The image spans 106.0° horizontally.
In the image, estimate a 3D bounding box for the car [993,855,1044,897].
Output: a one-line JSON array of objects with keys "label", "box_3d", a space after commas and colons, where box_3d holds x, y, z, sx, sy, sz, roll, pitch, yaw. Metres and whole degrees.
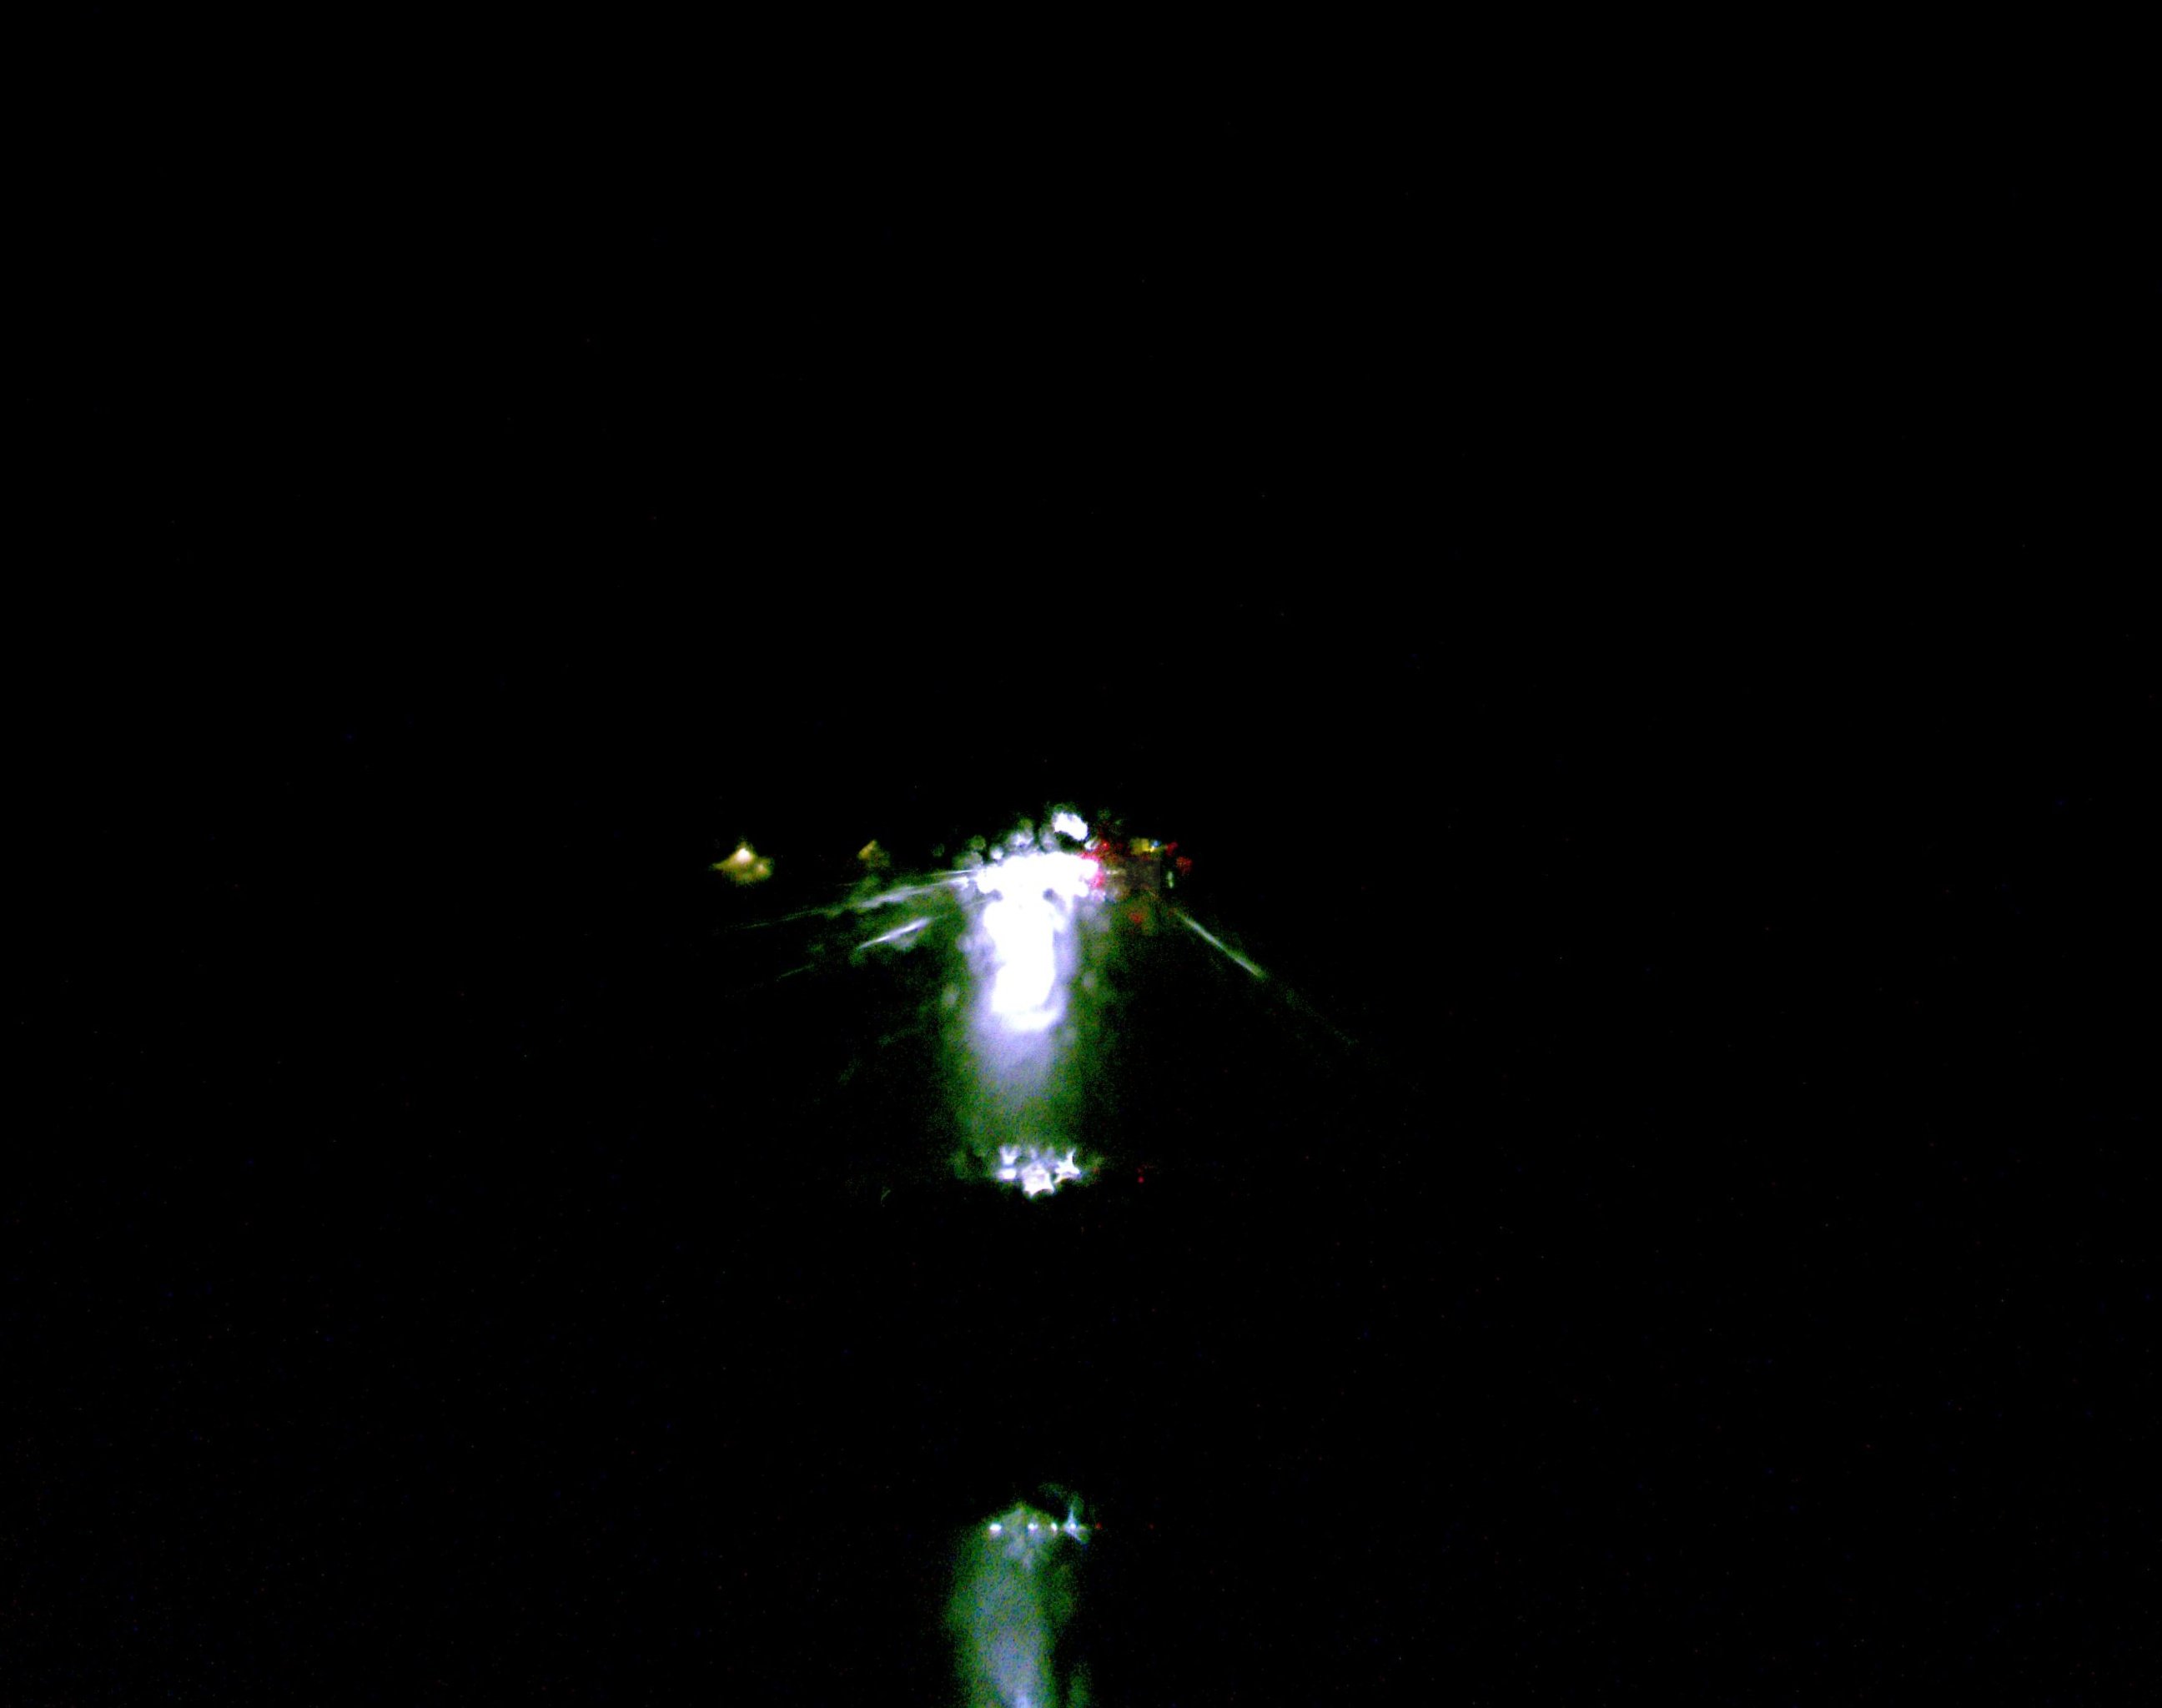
[{"label": "car", "box_3d": [-2.613, 0.885, 34.645, 1.789, 1.538, 3.800, -4, 0, 0]}]

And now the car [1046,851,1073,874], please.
[{"label": "car", "box_3d": [-1.744, 0.645, 67.459, 1.848, 1.683, 4.327, -4, 1, 1]}]

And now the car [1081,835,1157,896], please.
[{"label": "car", "box_3d": [1.293, 0.425, 29.633, 2.449, 1.958, 4.911, -2, -1, 0]}]
